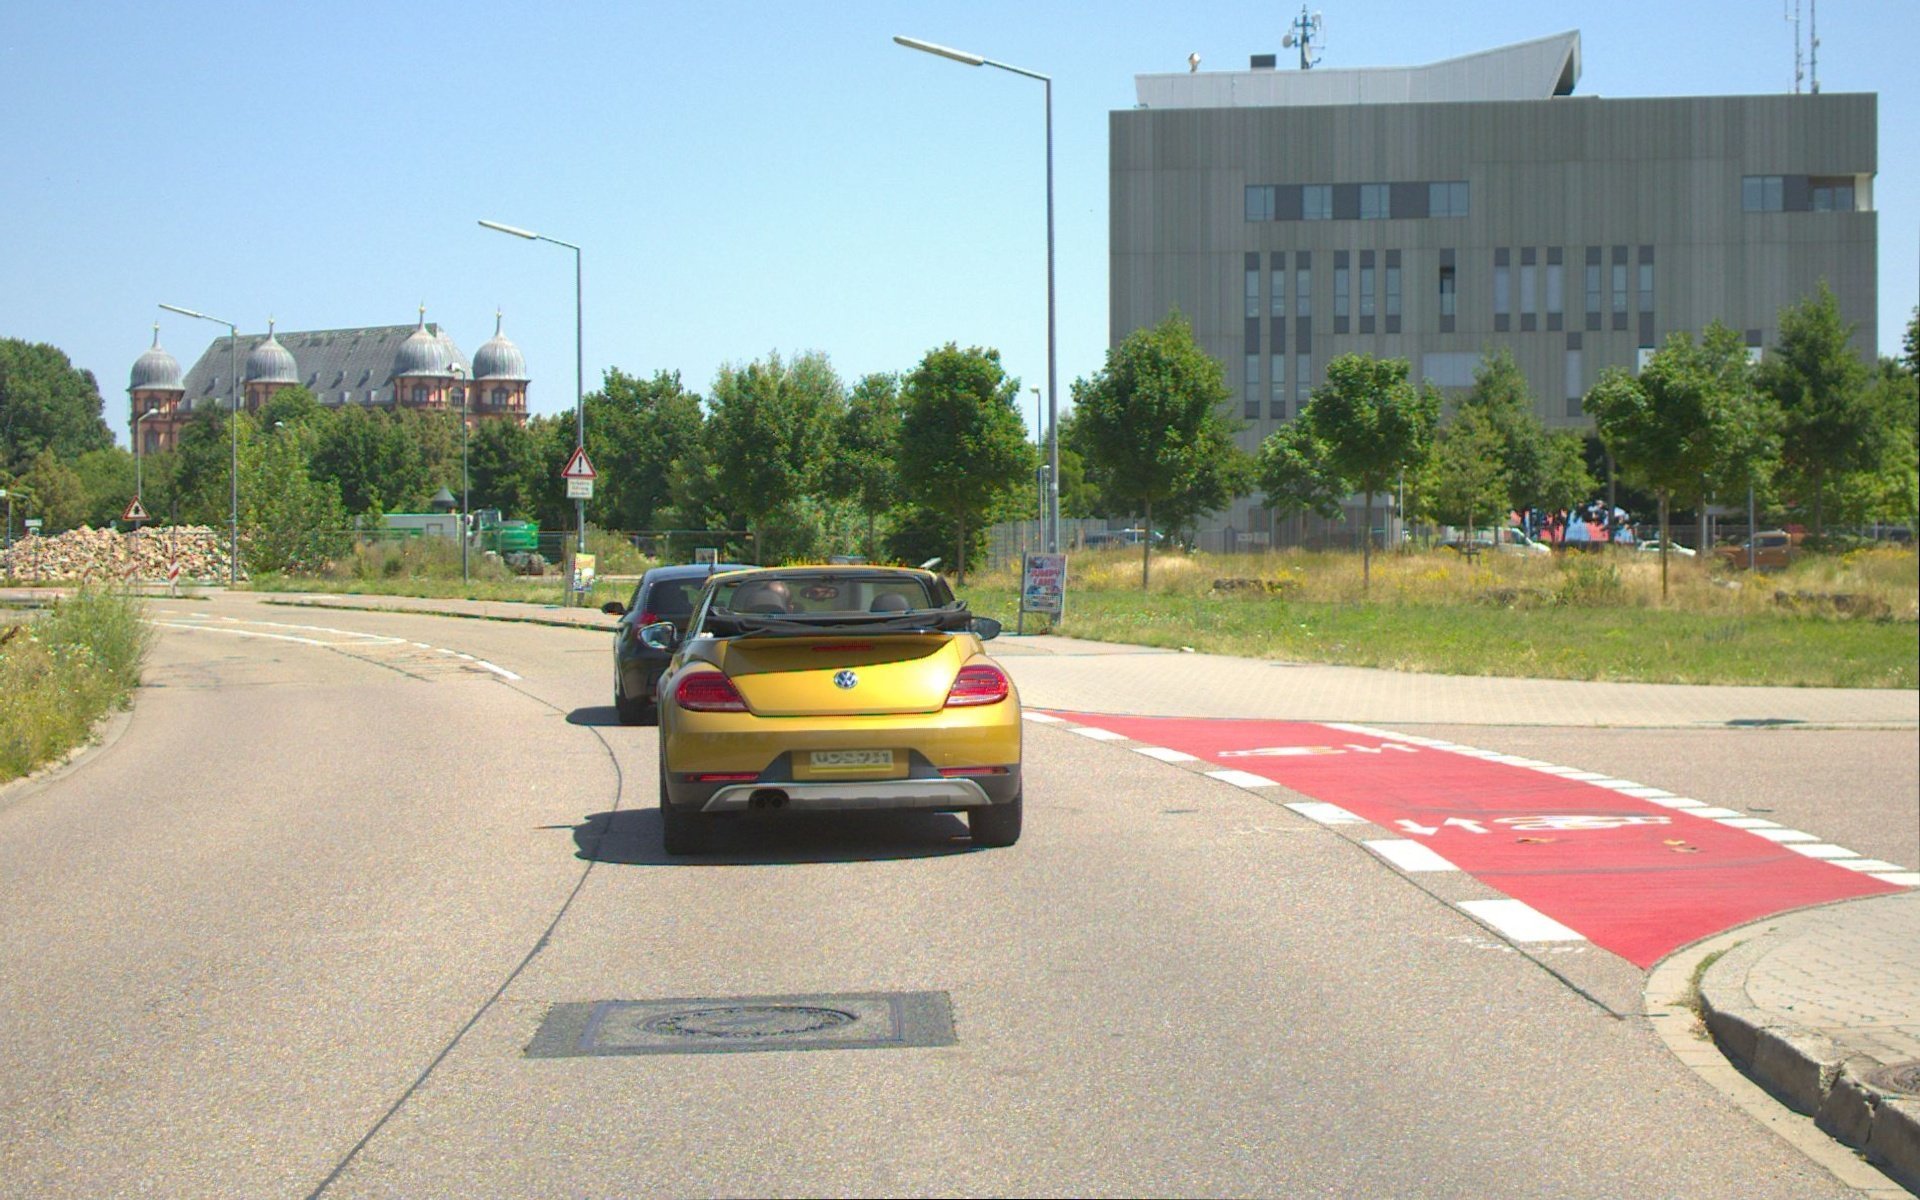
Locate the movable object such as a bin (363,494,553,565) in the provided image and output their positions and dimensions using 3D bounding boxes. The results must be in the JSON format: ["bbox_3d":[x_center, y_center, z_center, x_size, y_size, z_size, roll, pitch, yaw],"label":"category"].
[{"bbox_3d":[-23.850,-3.333,162.757,4.939,3.249,10.468,-1,1,-33],"label":"movable object such as a bin"}]

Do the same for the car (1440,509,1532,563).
[{"bbox_3d":[22.591,-2.766,147.673,3.844,2.286,1.742,0,1,11],"label":"car"}]

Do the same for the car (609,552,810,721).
[{"bbox_3d":[-2.312,0.288,31.876,1.726,1.438,4.001,0,1,-4],"label":"car"}]

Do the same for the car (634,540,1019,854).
[{"bbox_3d":[-0.598,0.419,17.906,1.790,1.432,3.814,0,1,1],"label":"car"}]
